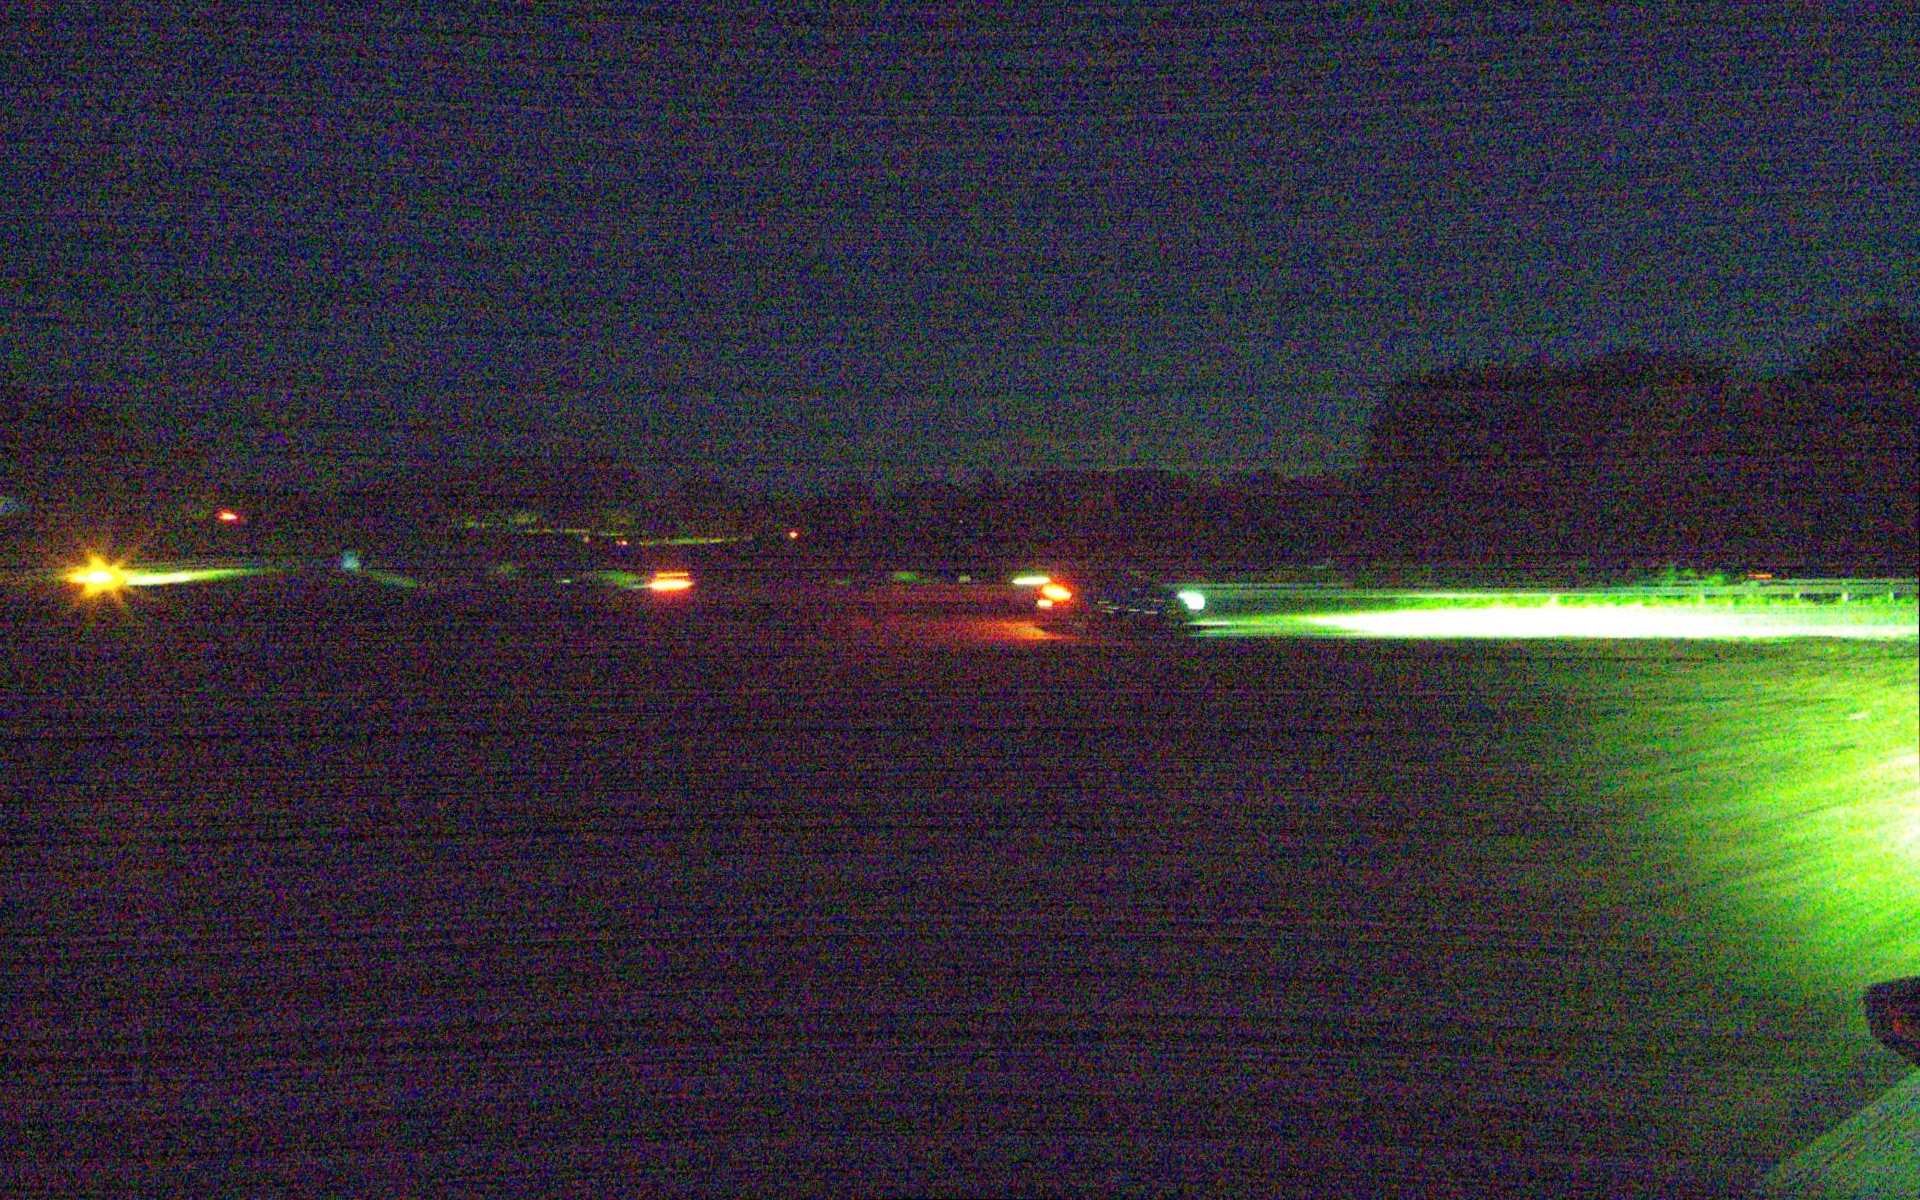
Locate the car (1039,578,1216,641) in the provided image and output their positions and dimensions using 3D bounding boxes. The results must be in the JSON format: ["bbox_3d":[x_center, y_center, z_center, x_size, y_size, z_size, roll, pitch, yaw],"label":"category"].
[{"bbox_3d":[4.643,0.243,28.238,4.556,1.630,1.944,0,3,-6],"label":"car"}]

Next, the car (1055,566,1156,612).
[{"bbox_3d":[6.134,-0.455,42.580,3.925,1.912,1.814,0,1,-6],"label":"car"}]

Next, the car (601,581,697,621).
[{"bbox_3d":[-14.182,0.039,45.968,3.925,1.781,1.787,0,0,-6],"label":"car"}]

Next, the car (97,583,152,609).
[{"bbox_3d":[-62.672,-0.261,75.440,1.849,1.808,3.981,4,-2,-21],"label":"car"}]
